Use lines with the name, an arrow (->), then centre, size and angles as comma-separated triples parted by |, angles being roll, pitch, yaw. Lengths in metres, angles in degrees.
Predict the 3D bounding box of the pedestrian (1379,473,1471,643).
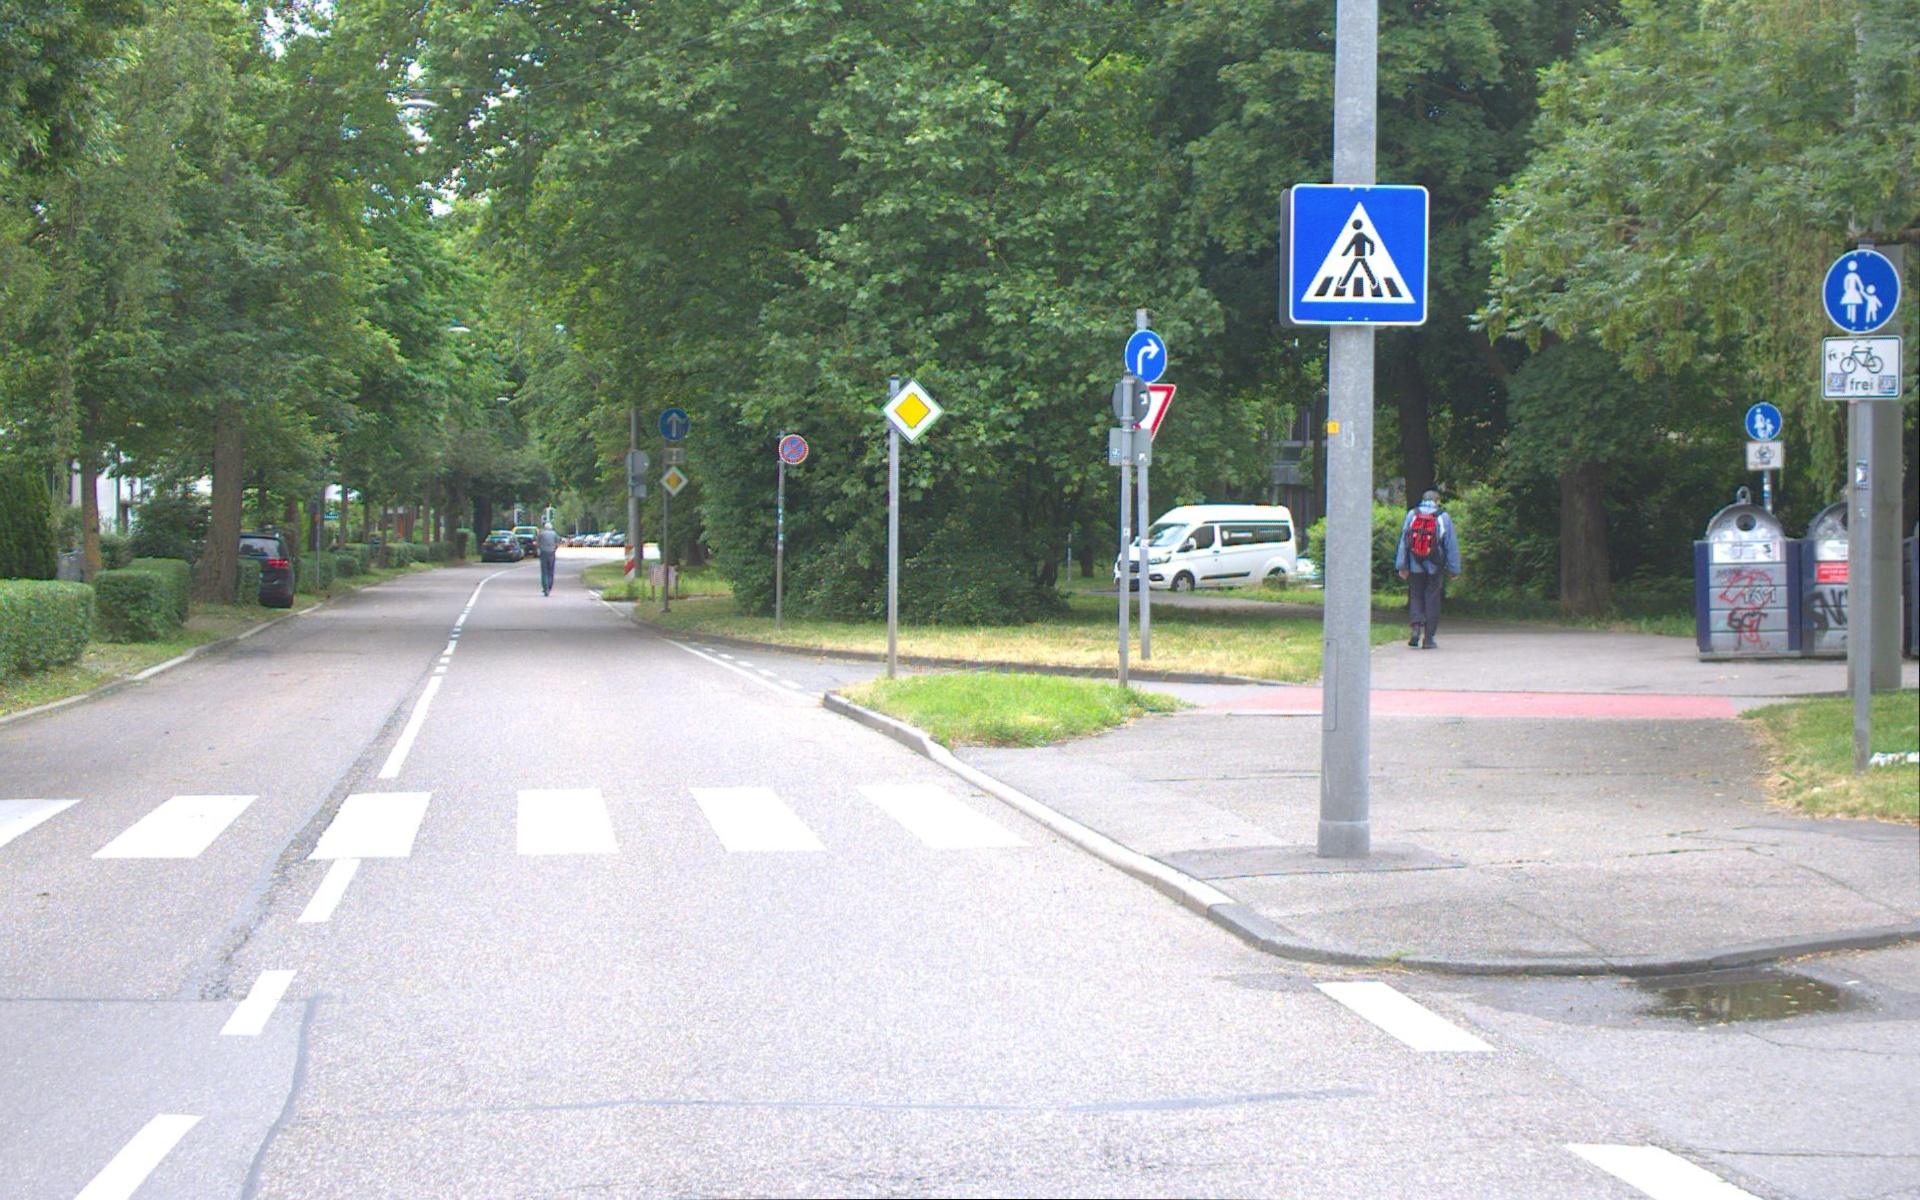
pedestrian -> 5.410, -0.497, 40.048 | 0.924, 1.865, 1.019 | -3, 4, 5

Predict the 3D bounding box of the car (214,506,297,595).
car -> -15.331, -1.101, 74.899 | 1.642, 1.718, 3.802 | 2, 2, -11

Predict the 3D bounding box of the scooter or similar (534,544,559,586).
scooter or similar -> -10.686, -0.903, 88.943 | 0.600, 1.051, 0.873 | -1, 3, -5

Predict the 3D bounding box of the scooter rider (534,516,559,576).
scooter rider -> -10.707, -1.399, 89.070 | 0.600, 1.547, 0.566 | -1, 3, -5

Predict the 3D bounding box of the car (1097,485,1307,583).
car -> 6.250, -1.691, 88.458 | 5.370, 2.289, 2.137 | 1, 4, -42

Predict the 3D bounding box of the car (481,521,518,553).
car -> -24.462, -3.346, 182.566 | 1.833, 1.493, 3.657 | 3, 3, -8
